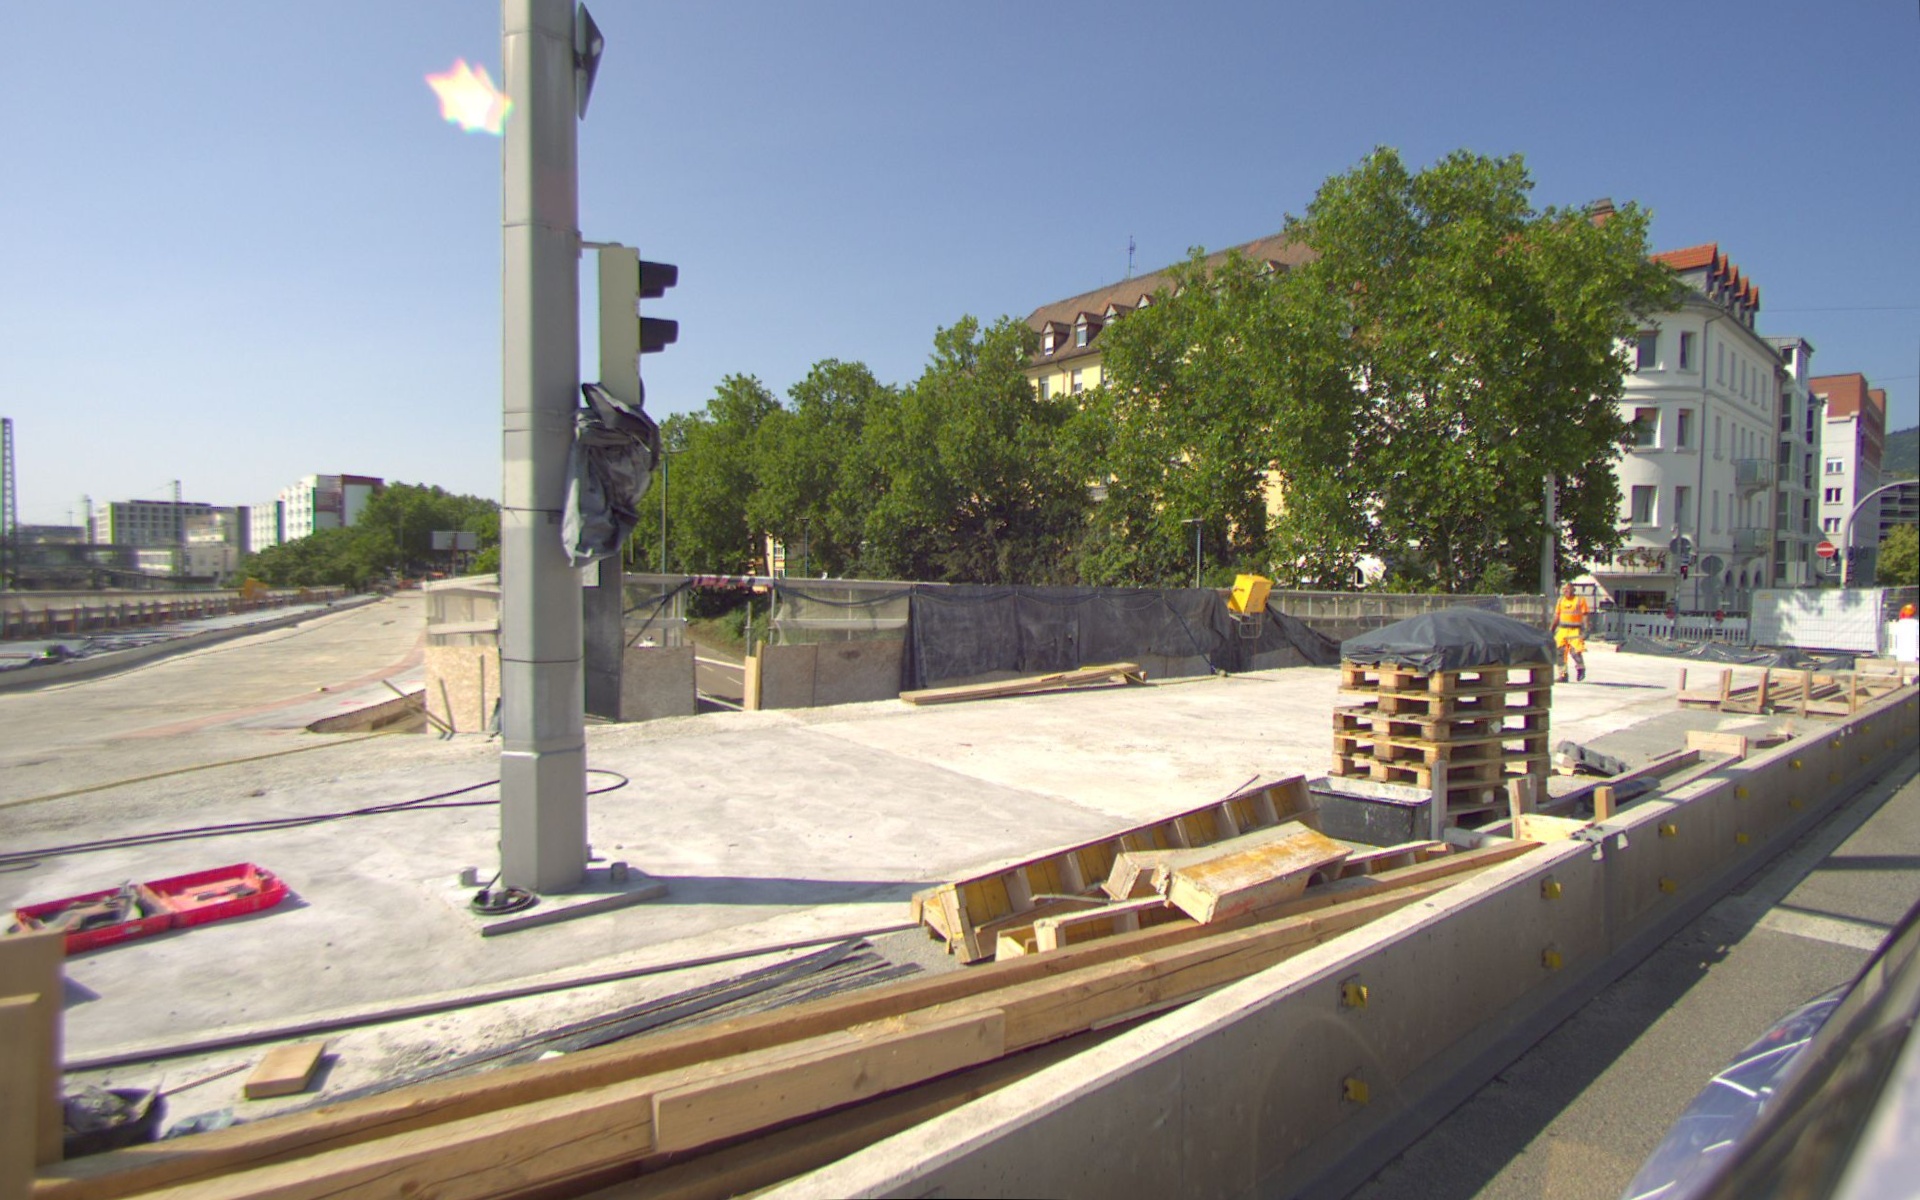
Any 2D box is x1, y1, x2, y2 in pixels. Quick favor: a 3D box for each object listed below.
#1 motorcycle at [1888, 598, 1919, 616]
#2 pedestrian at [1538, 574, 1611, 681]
[{"bbox_3d":[67.138,0.517,71.555,0.730,1.180,2.177,0,2,-39],"label":"motorcycle"},{"bbox_3d":[10.994,0.470,18.108,0.849,1.817,0.821,0,3,-42],"label":"pedestrian"}]
